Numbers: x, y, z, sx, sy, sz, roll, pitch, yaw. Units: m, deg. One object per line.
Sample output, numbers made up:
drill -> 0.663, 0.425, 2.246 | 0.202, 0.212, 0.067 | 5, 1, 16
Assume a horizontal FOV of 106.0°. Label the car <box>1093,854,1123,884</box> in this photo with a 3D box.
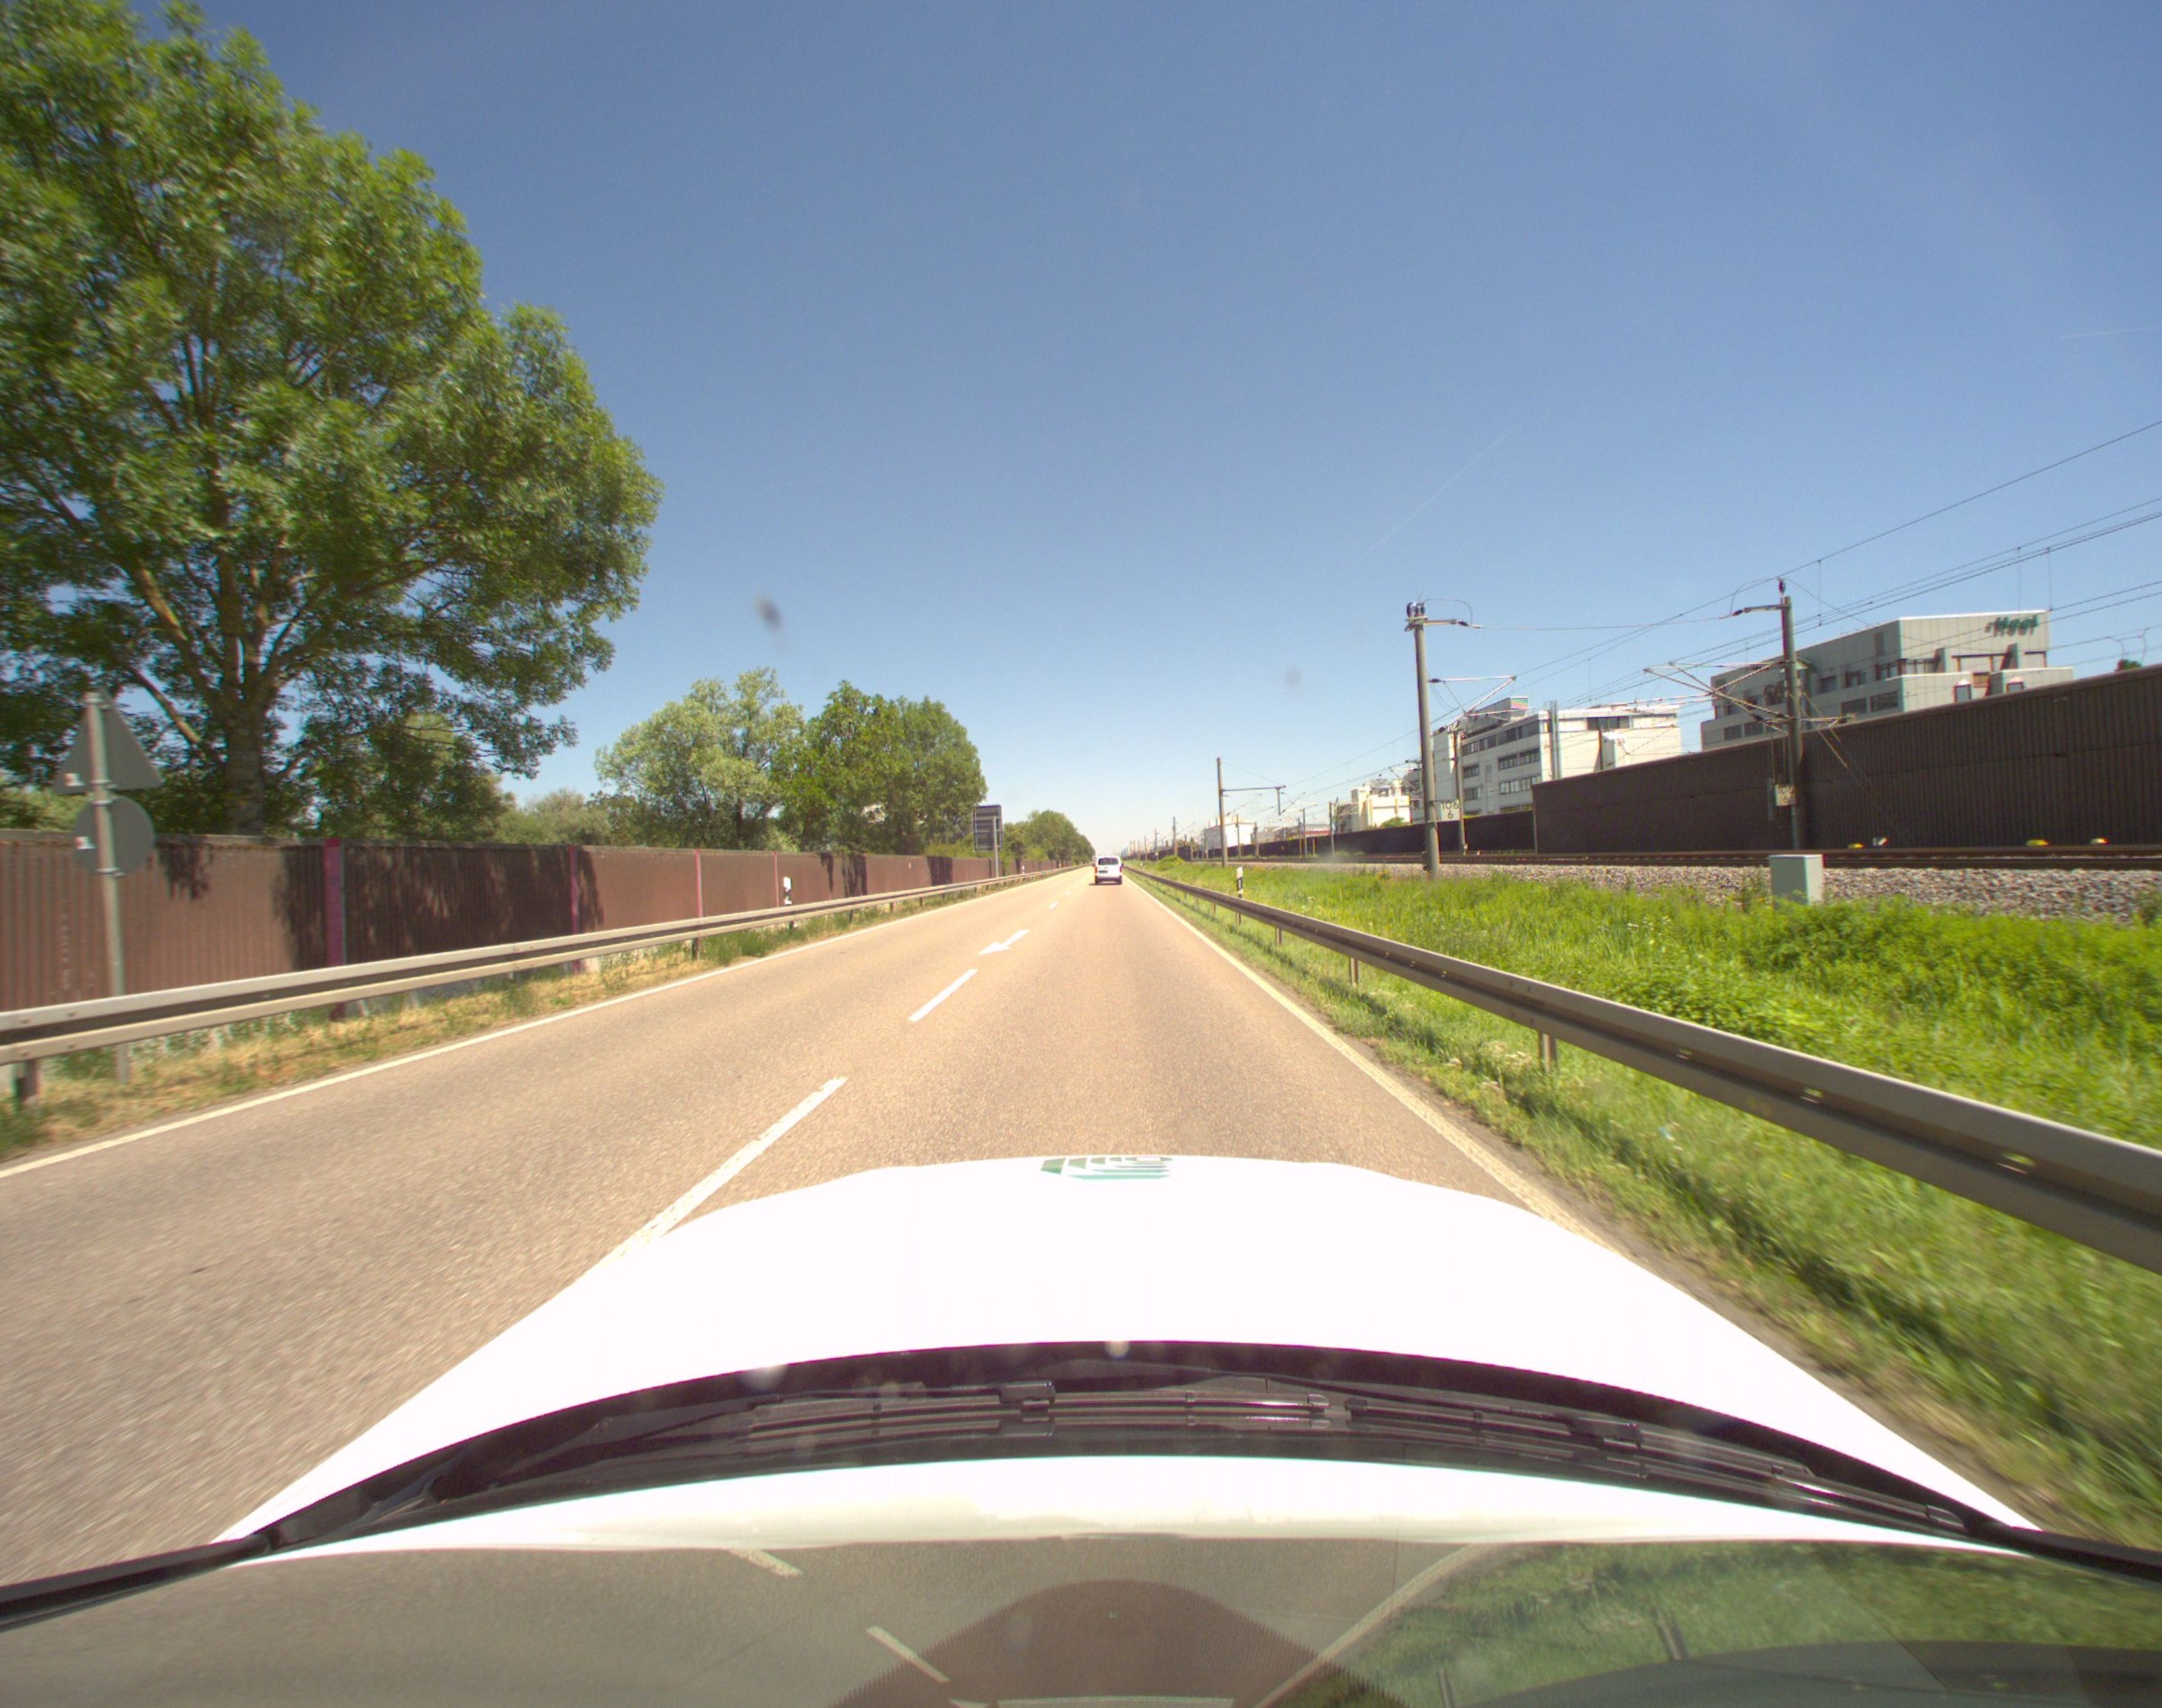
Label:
car -> 1.885, 1.026, 56.164 | 1.938, 1.881, 4.882 | -2, -1, 2
